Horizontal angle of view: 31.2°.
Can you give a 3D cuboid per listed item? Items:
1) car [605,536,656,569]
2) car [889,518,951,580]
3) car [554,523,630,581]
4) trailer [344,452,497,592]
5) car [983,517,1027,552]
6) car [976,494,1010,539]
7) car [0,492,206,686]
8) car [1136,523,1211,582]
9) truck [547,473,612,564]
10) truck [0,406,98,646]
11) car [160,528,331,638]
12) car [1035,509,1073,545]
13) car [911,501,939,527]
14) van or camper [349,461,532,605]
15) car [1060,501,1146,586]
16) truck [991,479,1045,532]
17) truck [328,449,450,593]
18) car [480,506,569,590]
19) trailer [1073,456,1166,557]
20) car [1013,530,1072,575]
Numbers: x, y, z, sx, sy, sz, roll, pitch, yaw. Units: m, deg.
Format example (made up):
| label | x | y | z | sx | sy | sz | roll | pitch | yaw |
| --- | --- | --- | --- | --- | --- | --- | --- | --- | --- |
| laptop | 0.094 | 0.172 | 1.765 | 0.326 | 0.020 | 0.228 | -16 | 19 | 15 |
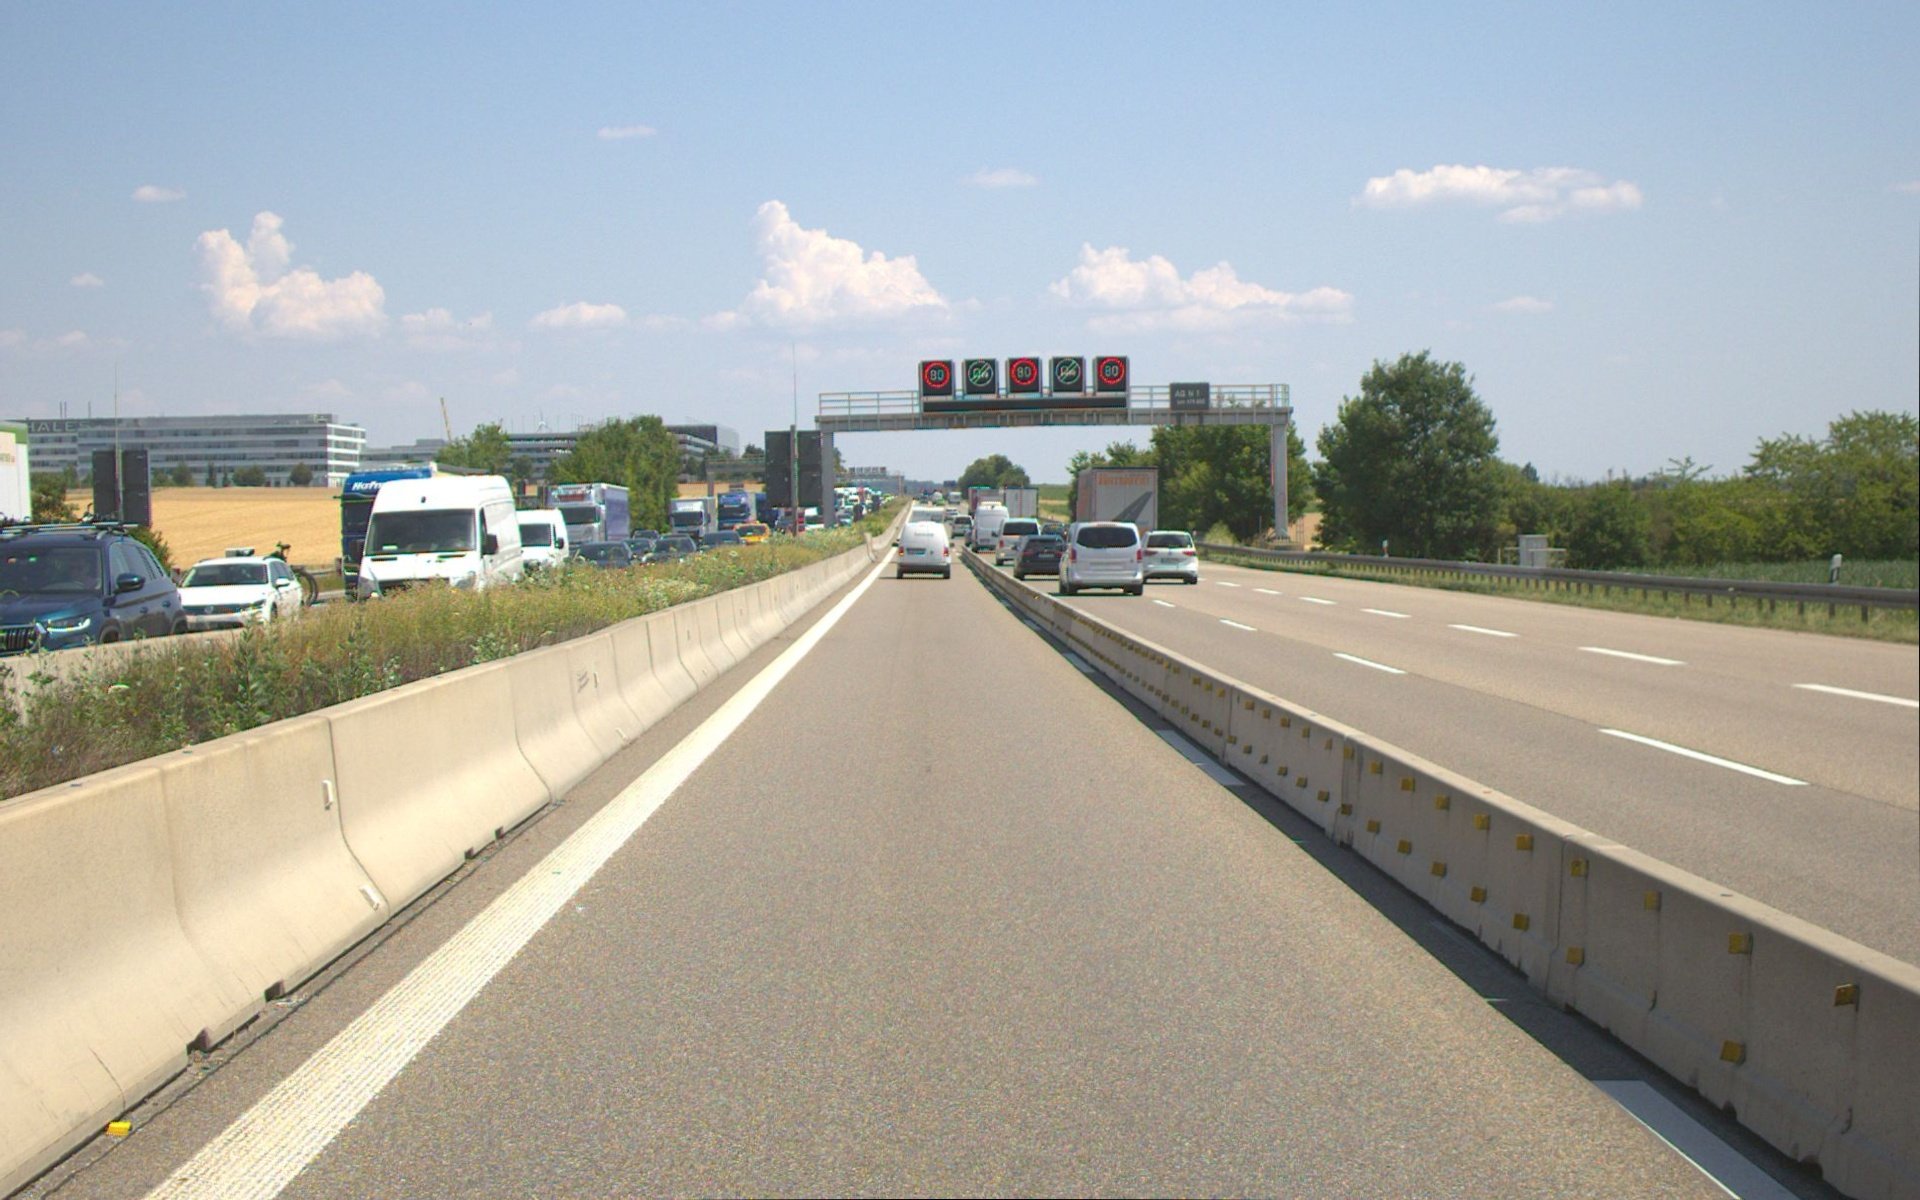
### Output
| label | x | y | z | sx | sy | sz | roll | pitch | yaw |
| --- | --- | --- | --- | --- | --- | --- | --- | --- | --- |
| car | -13.486 | -1.938 | 140.865 | 1.747 | 1.262 | 4.434 | 1 | 0 | -1 |
| car | -1.296 | -1.664 | 112.473 | 1.993 | 2.007 | 4.000 | 0 | 1 | -1 |
| car | -9.759 | -1.301 | 91.418 | 1.597 | 1.464 | 4.534 | -1 | 1 | -1 |
| trailer | -17.014 | -2.506 | 109.365 | 2.809 | 4.114 | 14.131 | -1 | 1 | -1 |
| car | 1.900 | -2.760 | 145.781 | 1.773 | 1.442 | 4.000 | 0 | 1 | -1 |
| car | 1.822 | -4.555 | 188.301 | 1.773 | 2.384 | 4.000 | 0 | 1 | -1 |
| car | -8.064 | -0.135 | 30.470 | 1.782 | 1.584 | 4.541 | 0 | 1 | 0 |
| car | 6.532 | -1.446 | 105.500 | 1.993 | 1.788 | 4.000 | 0 | 1 | -1 |
| truck | -17.428 | -3.729 | 157.841 | 2.411 | 4.072 | 4.660 | -1 | 1 | 0 |
| truck | -15.725 | -1.026 | 50.207 | 2.795 | 3.597 | 13.289 | -3 | 1 | 0 |
| car | -12.057 | -0.336 | 58.362 | 1.886 | 1.704 | 5.523 | -2 | 1 | -2 |
| car | 5.320 | -4.164 | 195.670 | 1.993 | 2.007 | 4.000 | 0 | 1 | -1 |
| car | -2.548 | -6.242 | 249.117 | 1.993 | 1.829 | 4.000 | 0 | 1 | -1 |
| van or camper | -8.517 | -1.119 | 56.960 | 2.035 | 2.214 | 7.209 | 1 | 1 | -1 |
| car | 3.615 | -1.429 | 87.501 | 1.993 | 2.112 | 4.000 | 0 | 1 | -1 |
| truck | 4.436 | -7.272 | 264.921 | 3.815 | 3.891 | 9.581 | -1 | 1 | -1 |
| truck | -16.861 | -2.342 | 101.790 | 2.809 | 4.114 | 4.842 | -1 | 1 | -1 |
| car | -13.326 | -1.625 | 105.614 | 2.046 | 2.492 | 5.813 | -1 | 1 | -1 |
| trailer | 6.417 | -3.743 | 139.612 | 3.277 | 3.953 | 9.113 | 0 | 1 | -1 |
| car | 2.642 | -1.536 | 111.389 | 1.773 | 1.442 | 4.000 | 0 | 1 | -1 |
